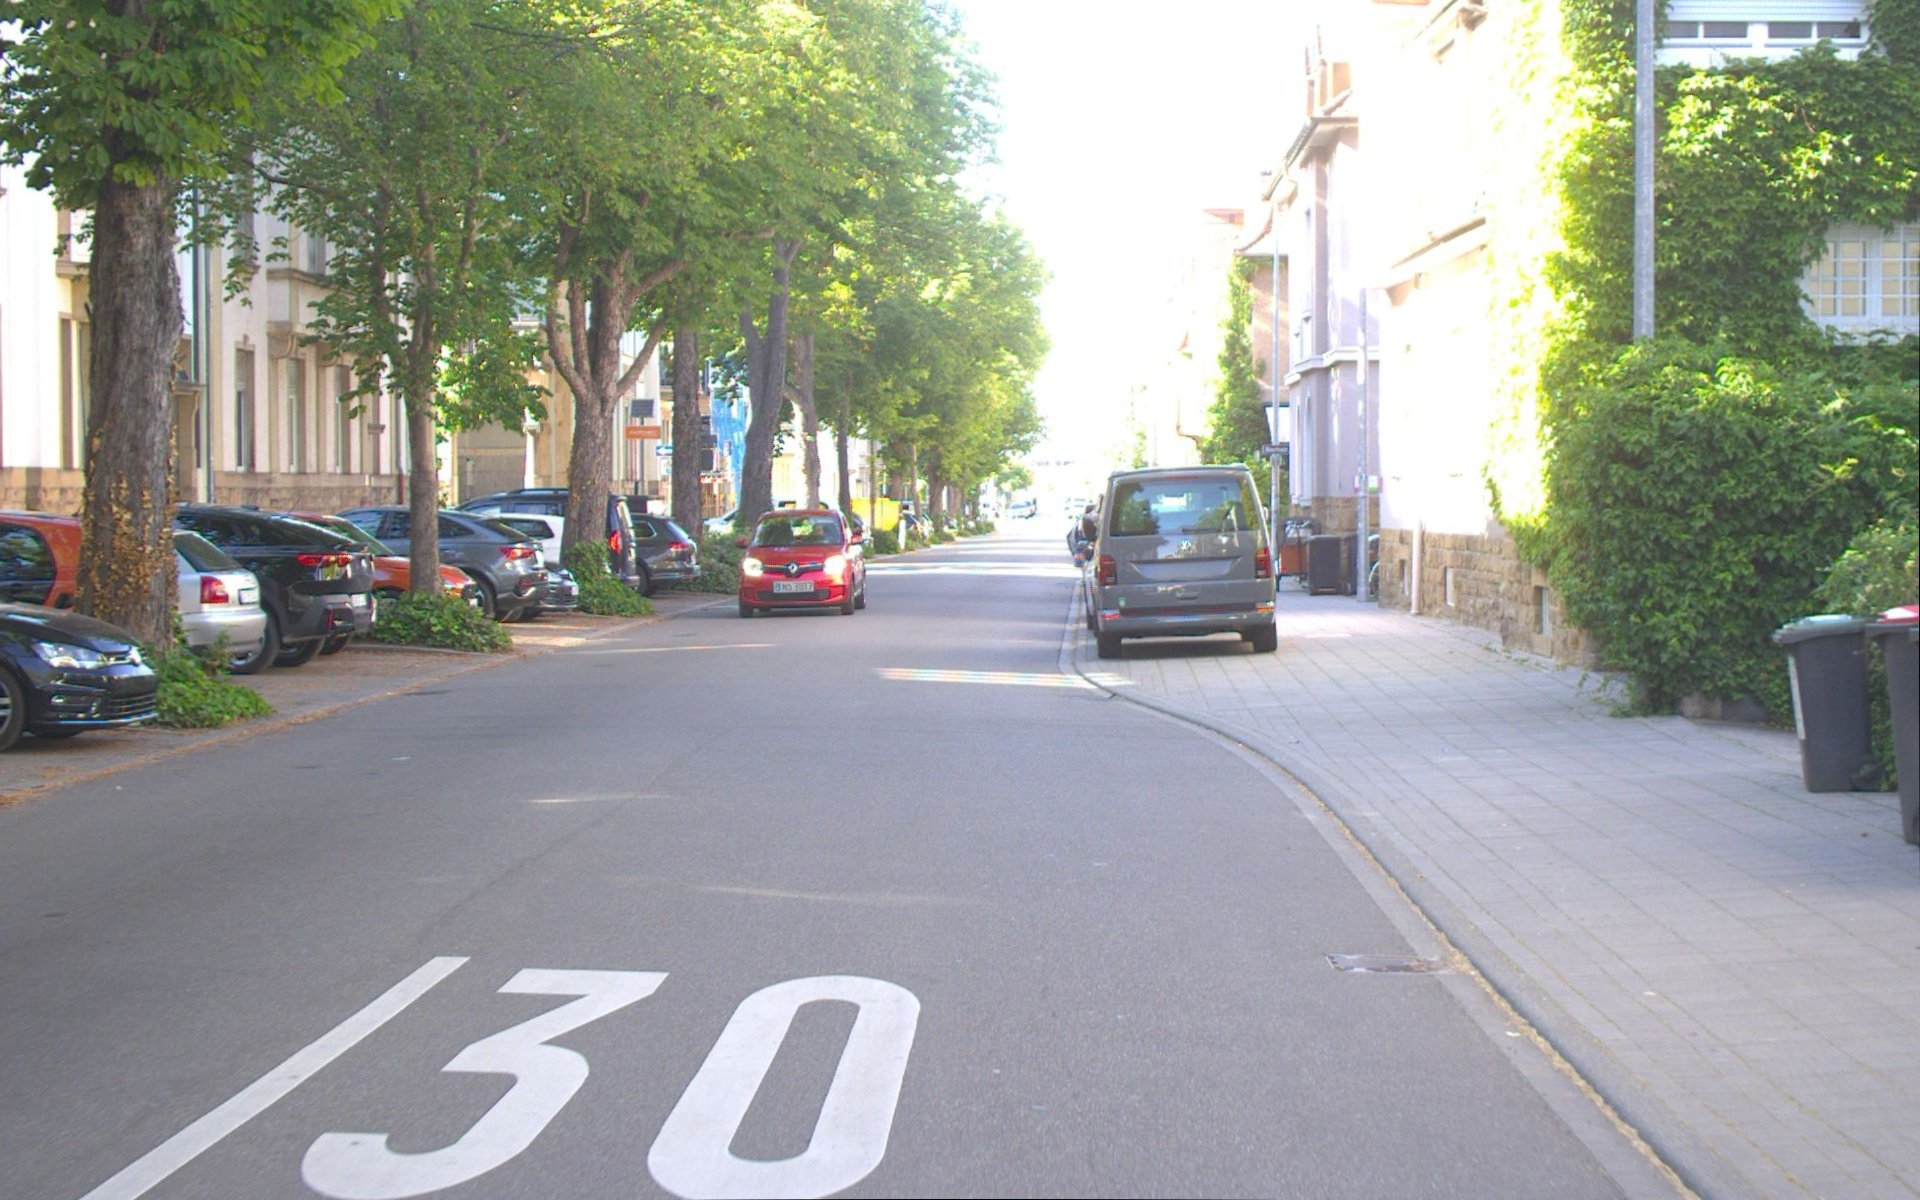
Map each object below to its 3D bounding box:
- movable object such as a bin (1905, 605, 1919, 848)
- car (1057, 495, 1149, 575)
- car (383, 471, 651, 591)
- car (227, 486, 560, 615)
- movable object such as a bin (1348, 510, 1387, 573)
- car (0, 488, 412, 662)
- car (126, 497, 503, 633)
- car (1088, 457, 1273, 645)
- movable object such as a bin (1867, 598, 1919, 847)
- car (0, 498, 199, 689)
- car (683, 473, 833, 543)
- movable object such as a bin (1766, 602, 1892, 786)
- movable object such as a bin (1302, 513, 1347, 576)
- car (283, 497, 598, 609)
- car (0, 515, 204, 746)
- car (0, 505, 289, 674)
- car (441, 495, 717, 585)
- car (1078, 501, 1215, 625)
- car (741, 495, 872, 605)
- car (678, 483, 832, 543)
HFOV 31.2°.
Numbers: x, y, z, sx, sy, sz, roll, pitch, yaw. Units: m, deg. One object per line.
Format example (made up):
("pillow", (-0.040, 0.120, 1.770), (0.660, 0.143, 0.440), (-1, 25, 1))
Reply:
("movable object such as a bin", (4.331, 0.538, 14.425), (0.483, 1.041, 0.657), (-4, 2, 0))
("car", (2.963, -1.383, 71.946), (1.699, 1.534, 4.156), (-2, 2, 0))
("car", (-6.987, -1.102, 54.475), (3.979, 1.849, 1.829), (0, 2, 1))
("car", (-7.344, -0.663, 44.799), (3.987, 1.587, 1.859), (1, 2, 1))
("movable object such as a bin", (6.861, -0.990, 57.881), (0.568, 1.036, 0.618), (-1, 2, 0))
("car", (-7.457, -0.266, 33.103), (3.987, 1.561, 1.863), (1, 2, 3))
("car", (-7.415, -0.414, 39.700), (3.987, 1.509, 1.747), (1, 1, 2))
("car", (2.333, -0.580, 37.304), (1.865, 1.909, 4.782), (0, 2, 2))
("movable object such as a bin", (4.338, 0.517, 15.097), (0.483, 1.041, 0.618), (-4, 2, 0))
("car", (-8.494, -0.049, 28.353), (3.987, 1.502, 1.722), (-1, 1, 3))
("car", (-5.507, -2.512, 94.135), (3.986, 1.754, 1.798), (2, 1, -1))
("movable object such as a bin", (4.619, 0.495, 18.294), (0.503, 0.912, 0.573), (-4, 2, 4))
("movable object such as a bin", (6.132, -0.938, 57.836), (0.647, 1.036, 0.828), (-1, 2, 0))
("car", (-7.099, -0.665, 47.174), (3.903, 1.441, 1.859), (1, 2, 7))
("car", (-7.340, 0.159, 23.297), (3.987, 1.477, 1.785), (1, 2, 3))
("car", (-8.203, -0.131, 30.720), (3.987, 1.398, 1.830), (1, 2, 3))
("car", (-6.535, -1.052, 59.266), (4.532, 1.498, 1.892), (0, 2, 1))
("car", (2.634, -0.555, 48.721), (1.789, 1.595, 4.000), (-3, 1, 3))
("car", (-2.224, -0.766, 50.569), (1.641, 1.503, 3.702), (-1, 2, 1))
("car", (-5.437, -2.313, 91.623), (3.986, 1.459, 1.798), (2, 1, -1))
